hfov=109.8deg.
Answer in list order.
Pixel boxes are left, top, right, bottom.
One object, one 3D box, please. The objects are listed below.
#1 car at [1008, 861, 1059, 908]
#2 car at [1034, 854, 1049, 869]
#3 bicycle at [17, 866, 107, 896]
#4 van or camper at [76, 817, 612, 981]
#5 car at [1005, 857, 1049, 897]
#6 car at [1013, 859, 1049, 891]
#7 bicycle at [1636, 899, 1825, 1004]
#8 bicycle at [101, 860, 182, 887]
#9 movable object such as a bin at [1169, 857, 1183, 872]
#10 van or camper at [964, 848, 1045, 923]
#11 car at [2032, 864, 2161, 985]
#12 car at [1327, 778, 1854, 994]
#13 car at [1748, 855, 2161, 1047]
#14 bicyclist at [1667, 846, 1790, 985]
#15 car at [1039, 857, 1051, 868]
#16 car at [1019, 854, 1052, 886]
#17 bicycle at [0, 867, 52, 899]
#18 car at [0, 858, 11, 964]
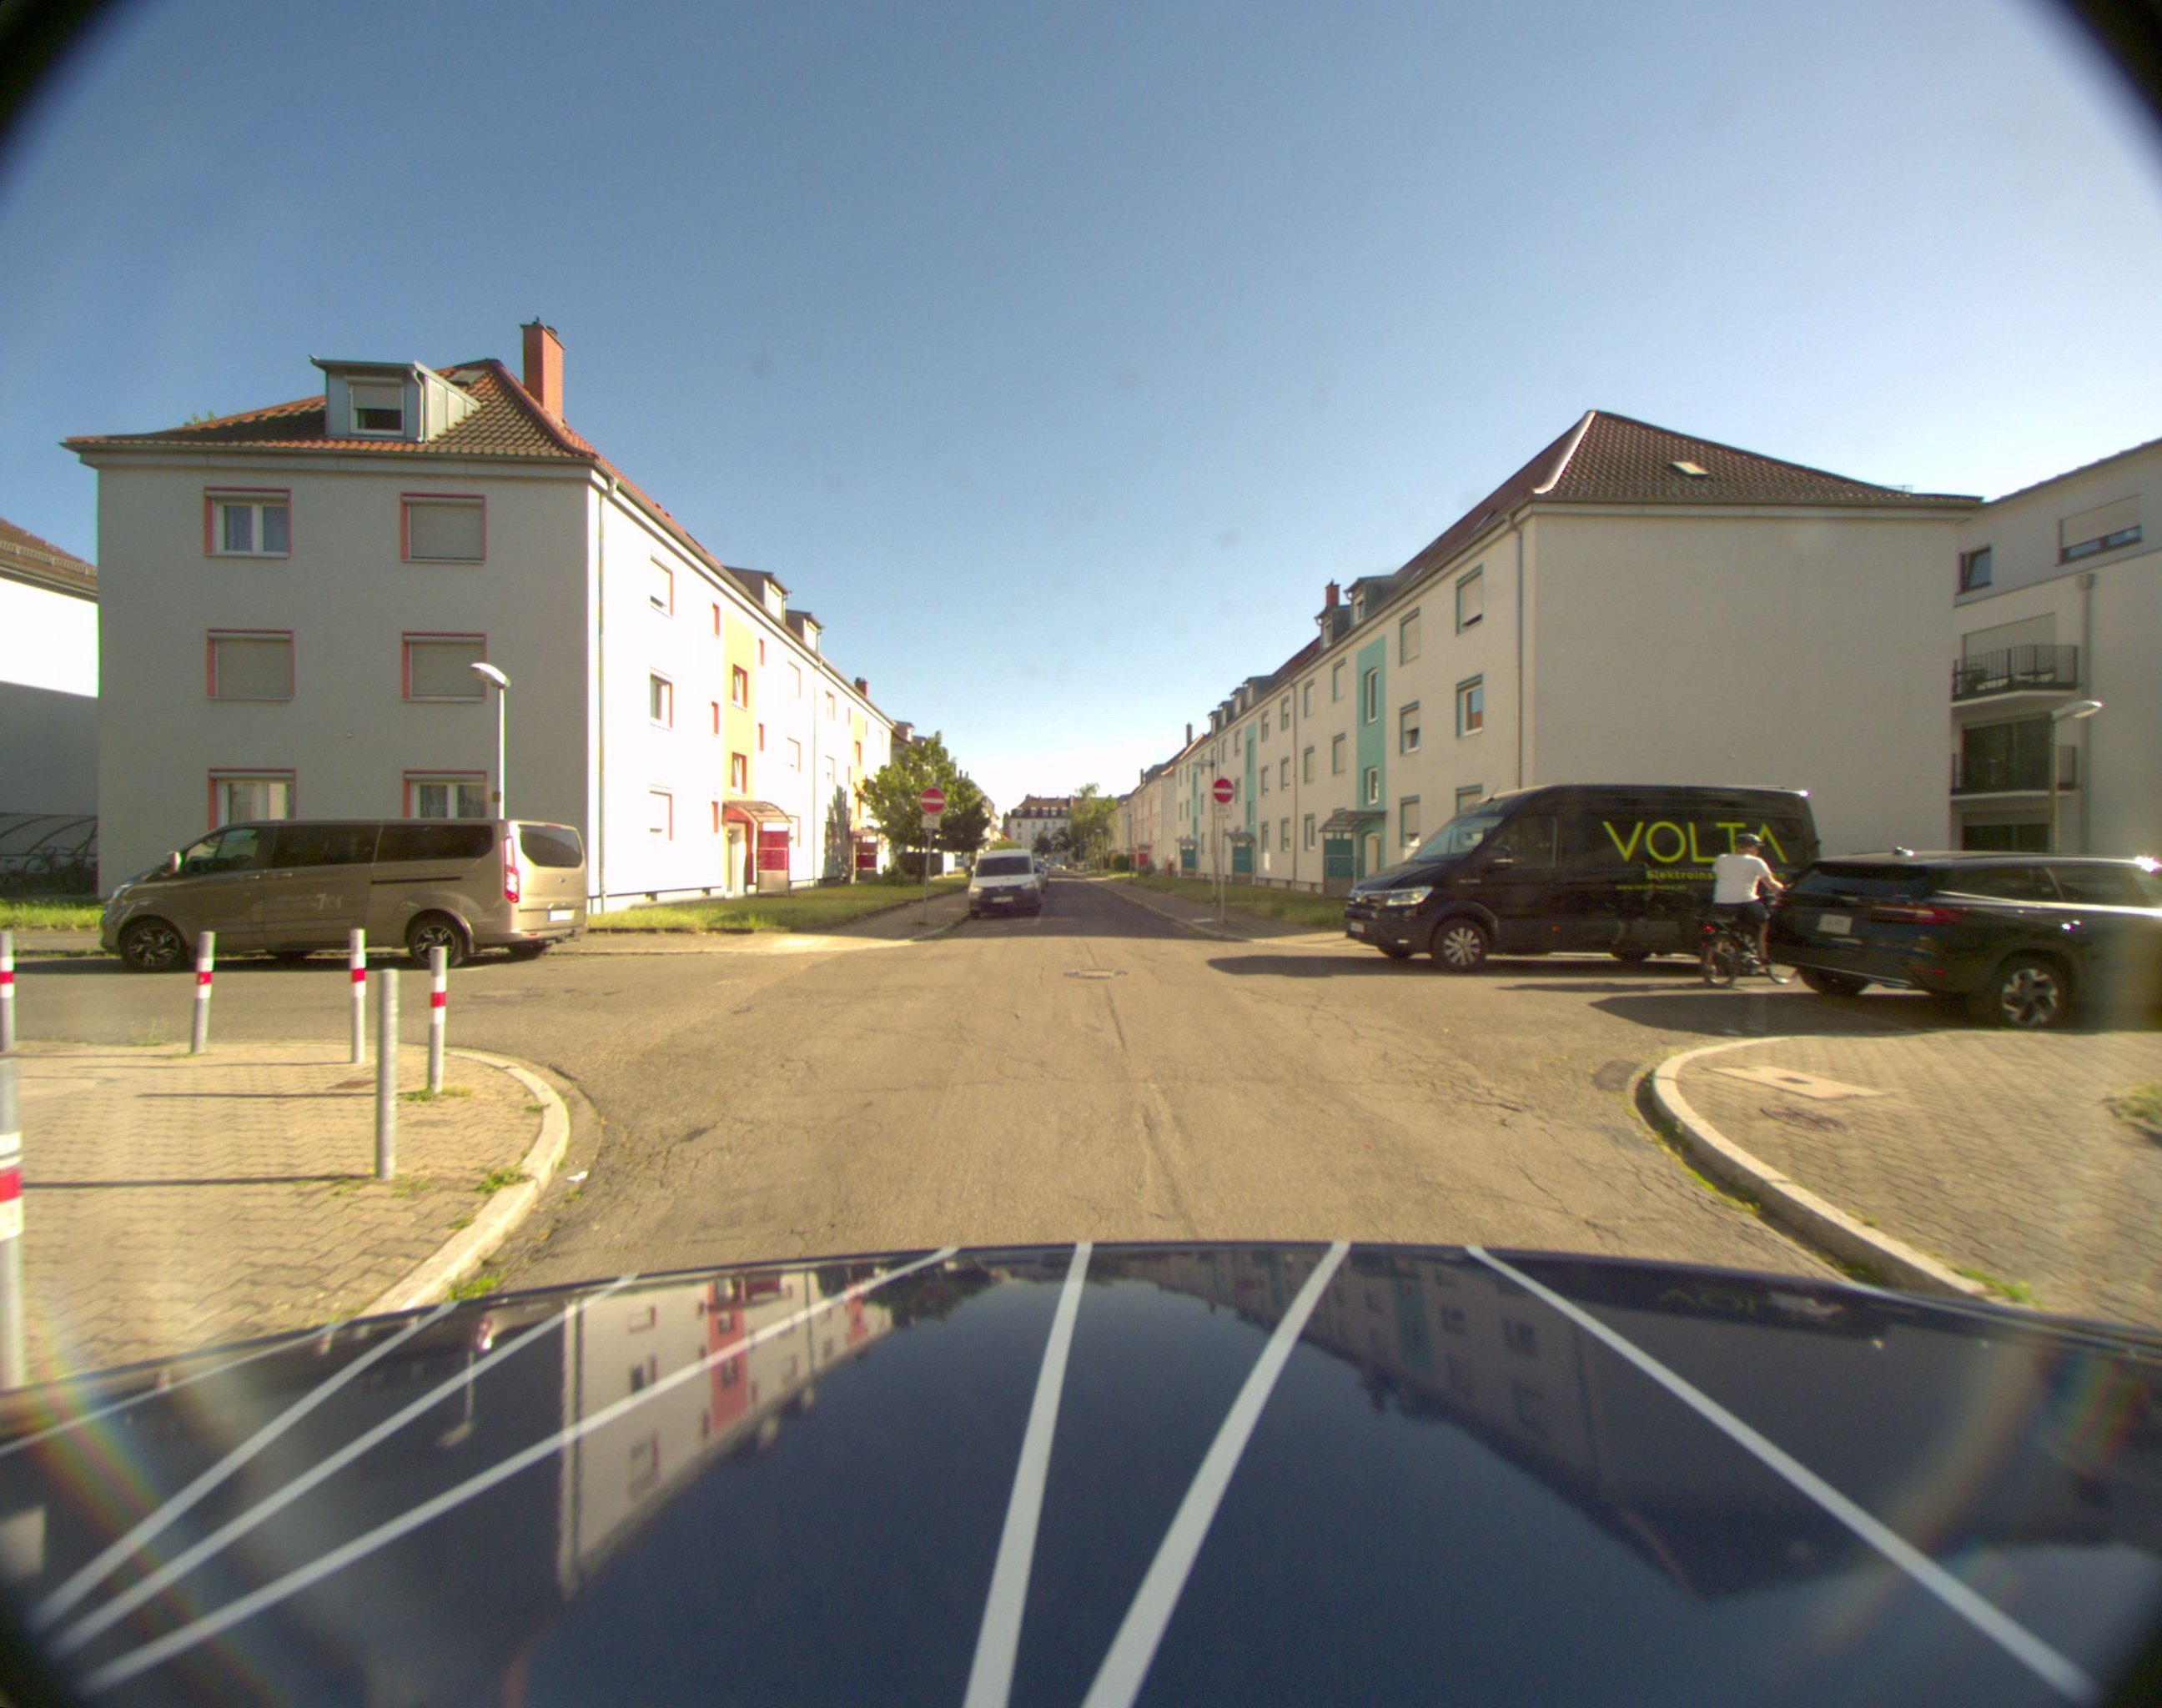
[{"bbox_3d":[-1.672,0.991,26.419,1.577,1.409,3.786,-3,0,-4],"label":"car"},{"bbox_3d":[-5.489,1.023,106.001,1.954,1.889,4.763,1,1,-2],"label":"car"},{"bbox_3d":[-28.735,0.749,21.437,1.830,0.776,0.506,2,0,0],"label":"bicycle"},{"bbox_3d":[-9.721,0.584,10.477,5.139,2.001,1.999,0,-1,-6],"label":"van or camper"},{"bbox_3d":[-2.298,0.928,31.715,1.622,1.541,3.609,1,0,-7],"label":"car"},{"bbox_3d":[-2.381,0.997,36.087,1.633,1.441,3.951,0,-1,-4],"label":"car"},{"bbox_3d":[7.568,1.111,8.883,1.816,1.109,0.629,0,1,-8],"label":"bicycle"},{"bbox_3d":[-28.811,0.591,23.311,1.830,0.776,0.506,2,0,0],"label":"bicycle"},{"bbox_3d":[8.952,0.961,71.757,1.167,1.385,0.877,1,0,-2],"label":"movable object such as a bin"},{"bbox_3d":[-2.003,0.786,21.167,1.797,1.737,4.734,-4,0,-2],"label":"van or camper"},{"bbox_3d":[17.233,1.071,11.268,3.998,1.685,1.865,2,0,-2],"label":"car"},{"bbox_3d":[6.780,0.409,10.611,5.956,2.530,2.000,2,0,-1],"label":"car"},{"bbox_3d":[9.762,0.904,7.717,4.500,1.654,1.718,1,2,-2],"label":"car"},{"bbox_3d":[7.541,0.695,8.874,0.907,1.570,0.597,1,1,-6],"label":"bicyclist"},{"bbox_3d":[-5.300,1.230,111.717,1.709,1.562,4.733,1,1,-2],"label":"car"},{"bbox_3d":[-2.731,0.905,45.152,1.780,1.709,4.305,-2,0,-5],"label":"car"},{"bbox_3d":[-28.443,0.756,20.064,1.830,0.776,0.506,2,0,0],"label":"bicycle"},{"bbox_3d":[-17.249,0.804,10.102,3.483,1.521,1.680,1,0,-3],"label":"car"}]
